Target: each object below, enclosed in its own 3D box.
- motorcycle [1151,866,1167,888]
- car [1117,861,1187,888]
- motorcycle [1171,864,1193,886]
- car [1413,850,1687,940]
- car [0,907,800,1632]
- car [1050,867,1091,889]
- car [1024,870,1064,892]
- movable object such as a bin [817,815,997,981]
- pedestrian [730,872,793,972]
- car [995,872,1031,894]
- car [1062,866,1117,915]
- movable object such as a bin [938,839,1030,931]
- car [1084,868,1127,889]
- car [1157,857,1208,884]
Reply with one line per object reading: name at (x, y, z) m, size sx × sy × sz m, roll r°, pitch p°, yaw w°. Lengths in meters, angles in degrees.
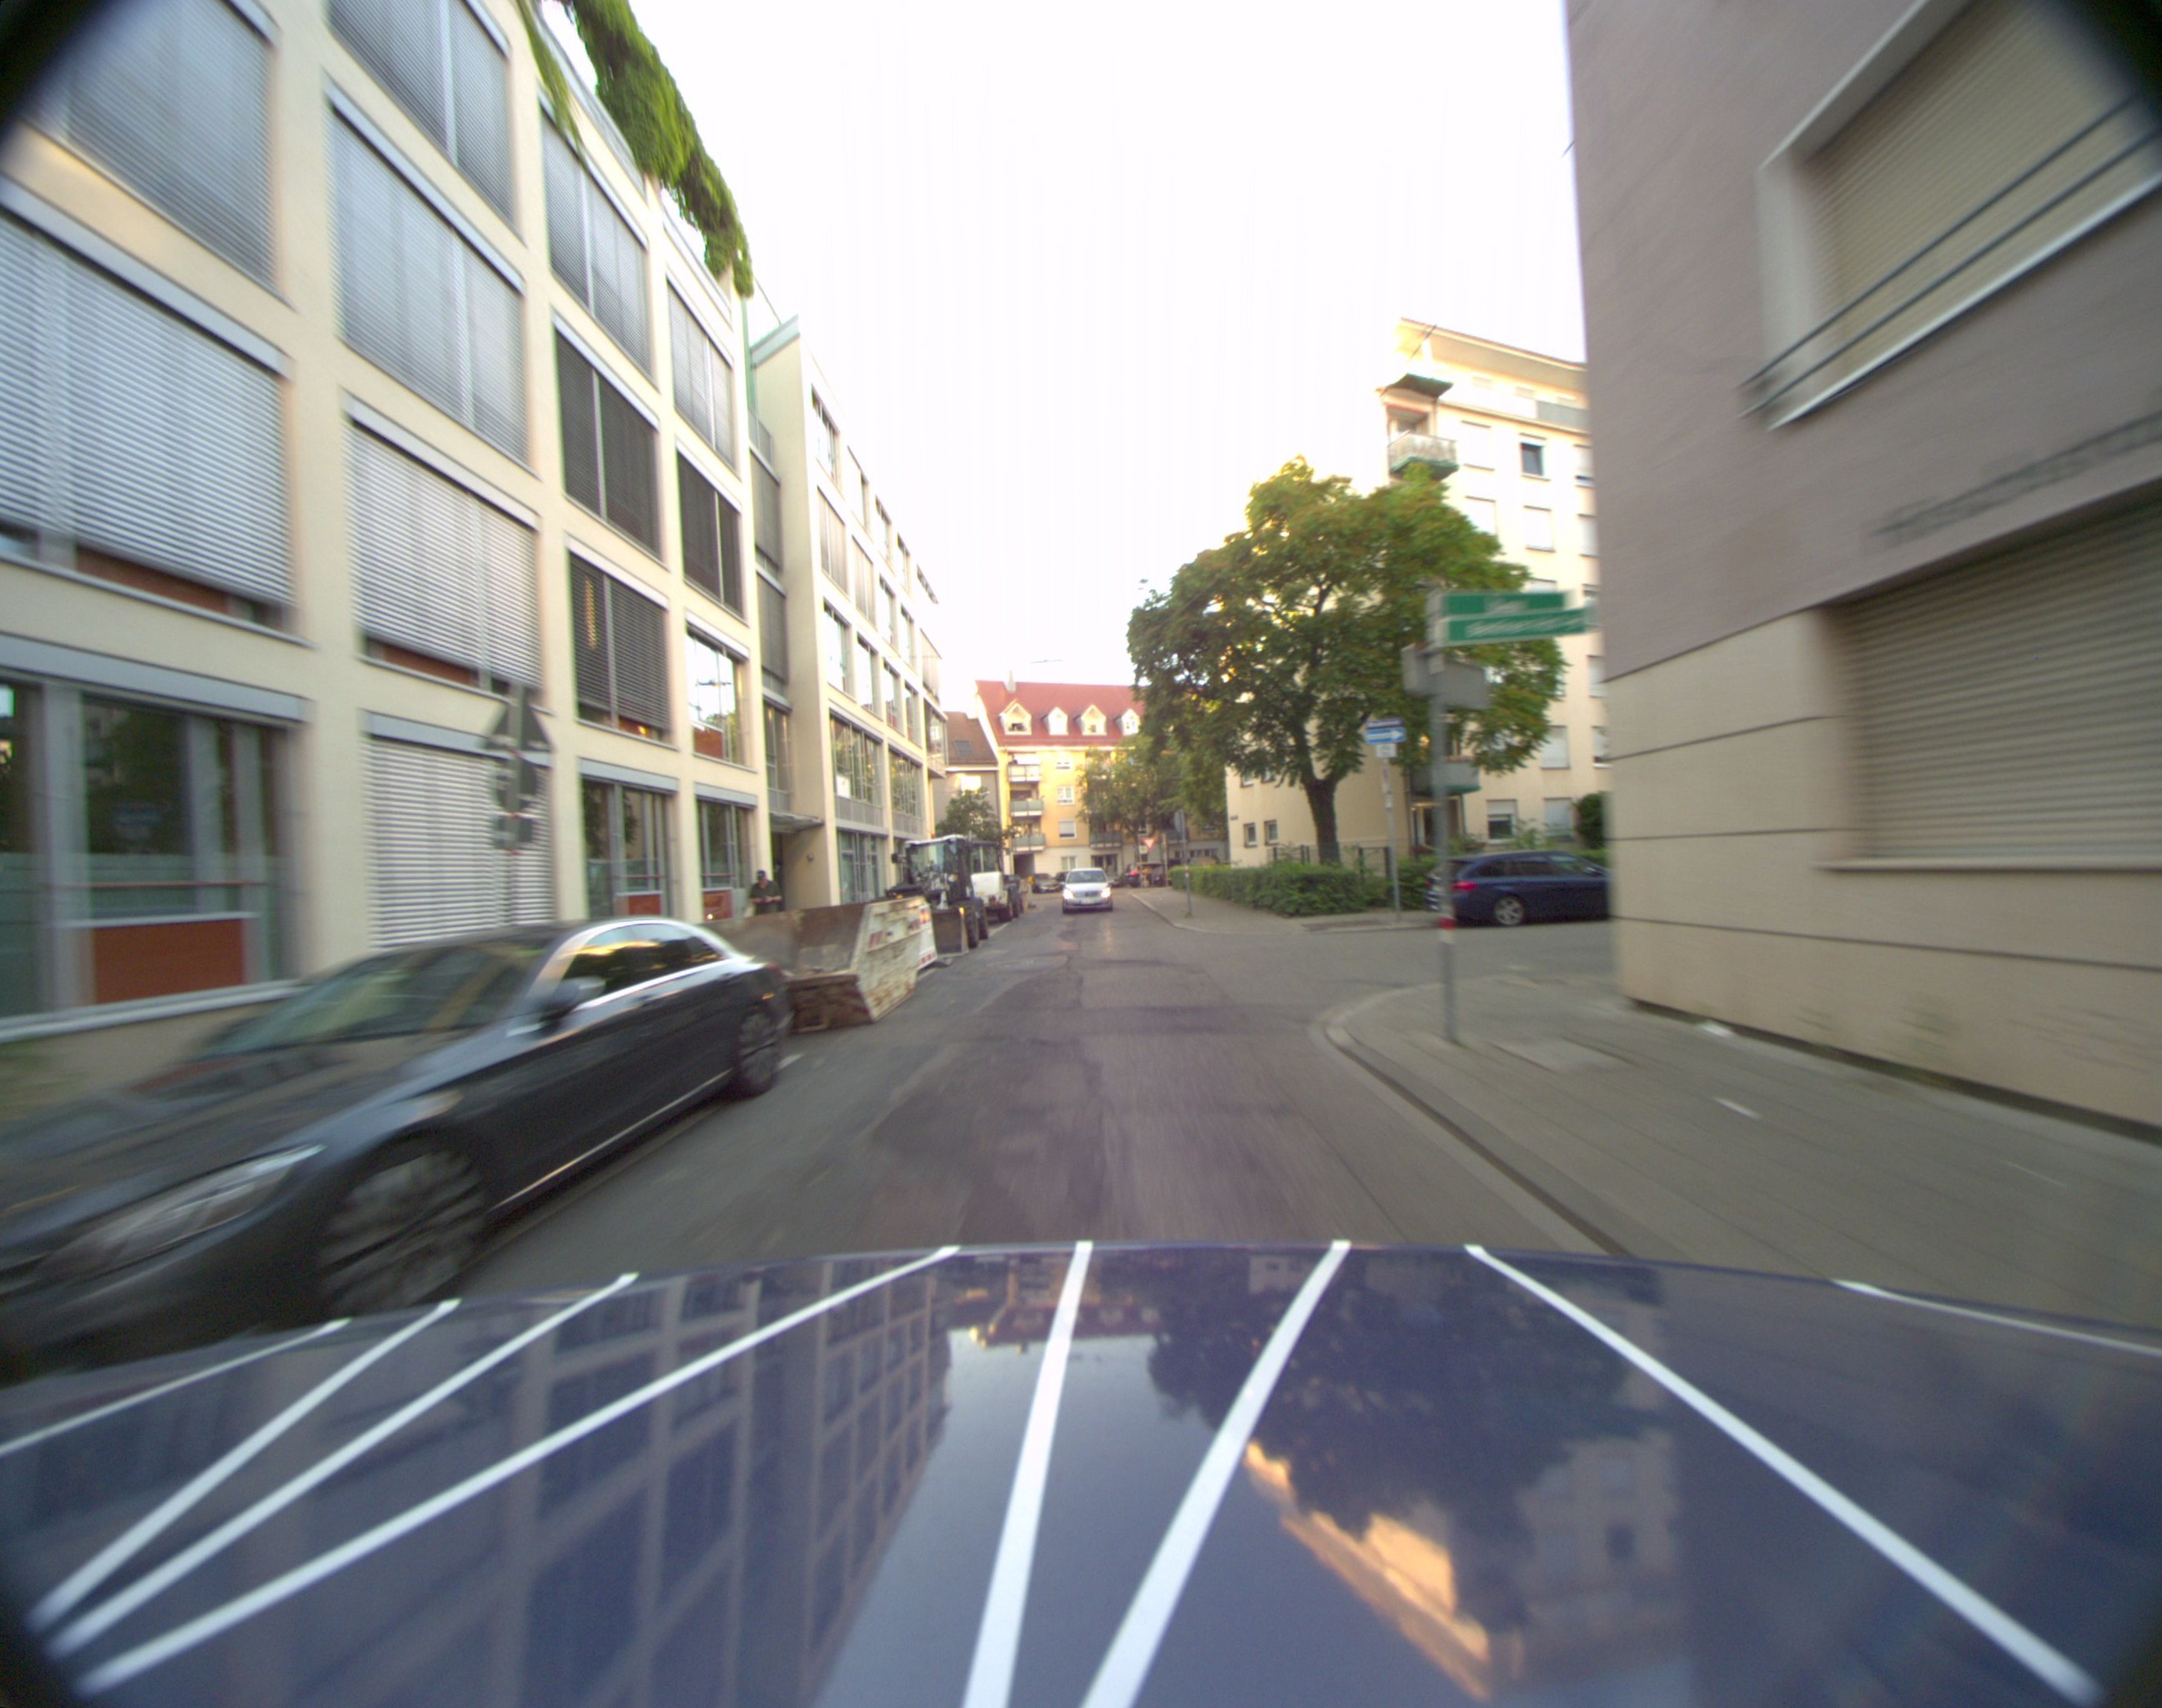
motorcycle at (5.024, 1.473, 48.787) m, size 0.858 × 1.345 × 1.960 m, roll -3°, pitch -1°, yaw 10°
car at (4.992, 1.400, 53.245) m, size 4.396 × 1.685 × 1.997 m, roll -2°, pitch -1°, yaw -19°
motorcycle at (6.565, 1.387, 49.594) m, size 0.572 × 1.398 × 1.969 m, roll -3°, pitch -1°, yaw -18°
car at (9.237, 0.776, 15.214) m, size 4.382 × 1.473 × 1.727 m, roll -3°, pitch 0°, yaw -1°
car at (-3.308, 1.212, 4.030) m, size 1.791 × 1.463 × 4.447 m, roll -5°, pitch -1°, yaw 1°
car at (-0.861, 1.844, 58.900) m, size 1.749 × 1.494 × 4.239 m, roll -2°, pitch 1°, yaw -21°
car at (-2.829, 2.035, 57.926) m, size 1.749 × 1.395 × 4.239 m, roll -2°, pitch 1°, yaw -21°
movable object such as a bin at (-3.250, 0.813, 15.661) m, size 2.021 × 2.607 × 5.752 m, roll -6°, pitch -1°, yaw 1°
pedestrian at (-6.039, 1.270, 14.405) m, size 0.807 × 1.808 × 0.722 m, roll -3°, pitch 0°, yaw 0°
car at (-5.143, 2.118, 57.037) m, size 1.634 × 1.442 × 3.850 m, roll -2°, pitch 1°, yaw -21°
car at (0.335, 1.310, 28.192) m, size 1.804 × 1.607 × 4.274 m, roll -2°, pitch -2°, yaw 1°
movable object such as a bin at (-3.170, 0.982, 26.106) m, size 2.021 × 2.607 × 5.752 m, roll -6°, pitch -1°, yaw 1°
car at (1.867, 1.872, 59.794) m, size 1.829 × 1.459 × 4.321 m, roll -2°, pitch 1°, yaw -21°
car at (8.256, 1.299, 62.050) m, size 2.231 × 2.065 × 4.321 m, roll -2°, pitch 1°, yaw -21°
